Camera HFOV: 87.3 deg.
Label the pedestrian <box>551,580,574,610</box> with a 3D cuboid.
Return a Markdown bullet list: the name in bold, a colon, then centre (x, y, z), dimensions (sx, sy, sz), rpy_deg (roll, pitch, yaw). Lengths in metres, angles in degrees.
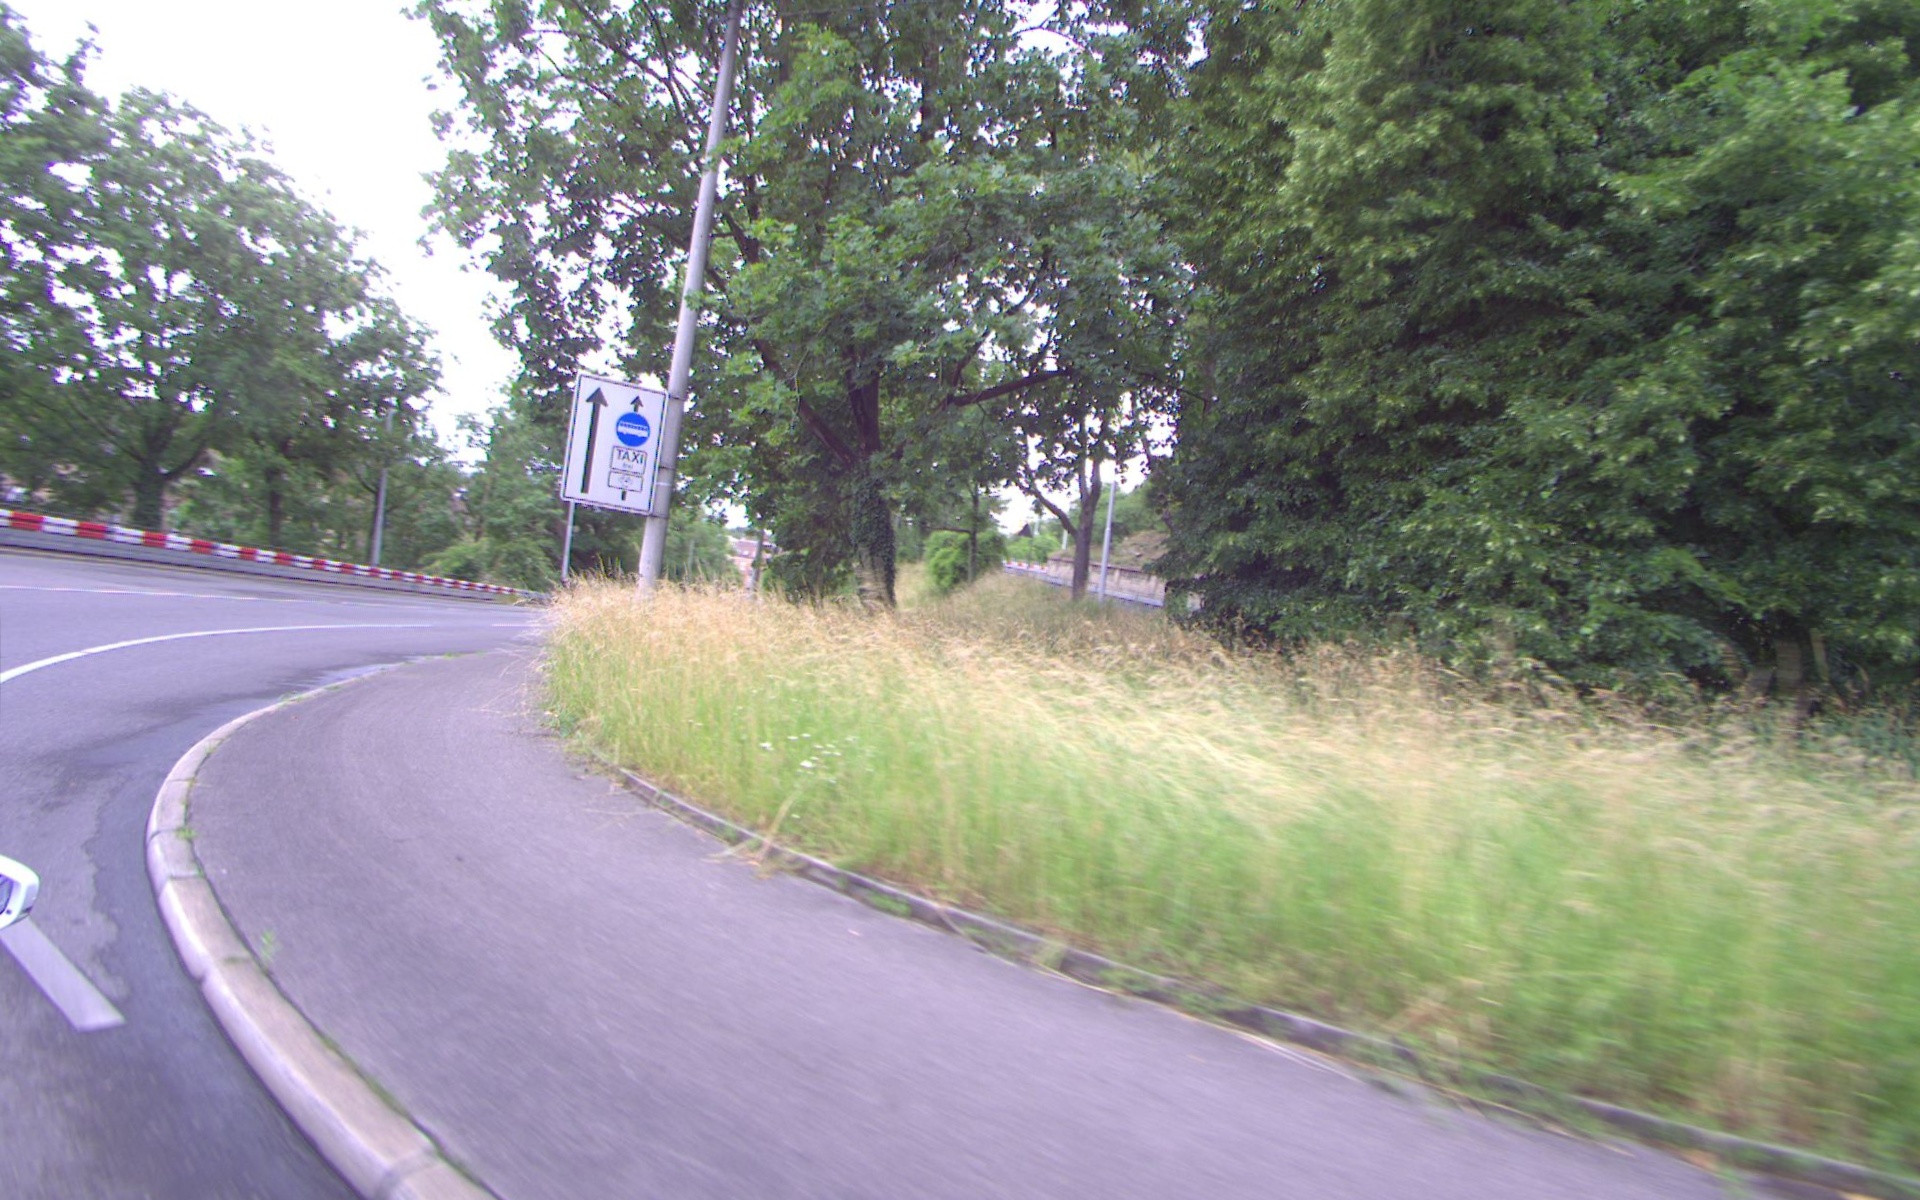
- **pedestrian**: centre (-25.188, -0.308, 63.744), dimensions (0.778, 1.793, 1.208), rpy_deg (11, -2, -9)
